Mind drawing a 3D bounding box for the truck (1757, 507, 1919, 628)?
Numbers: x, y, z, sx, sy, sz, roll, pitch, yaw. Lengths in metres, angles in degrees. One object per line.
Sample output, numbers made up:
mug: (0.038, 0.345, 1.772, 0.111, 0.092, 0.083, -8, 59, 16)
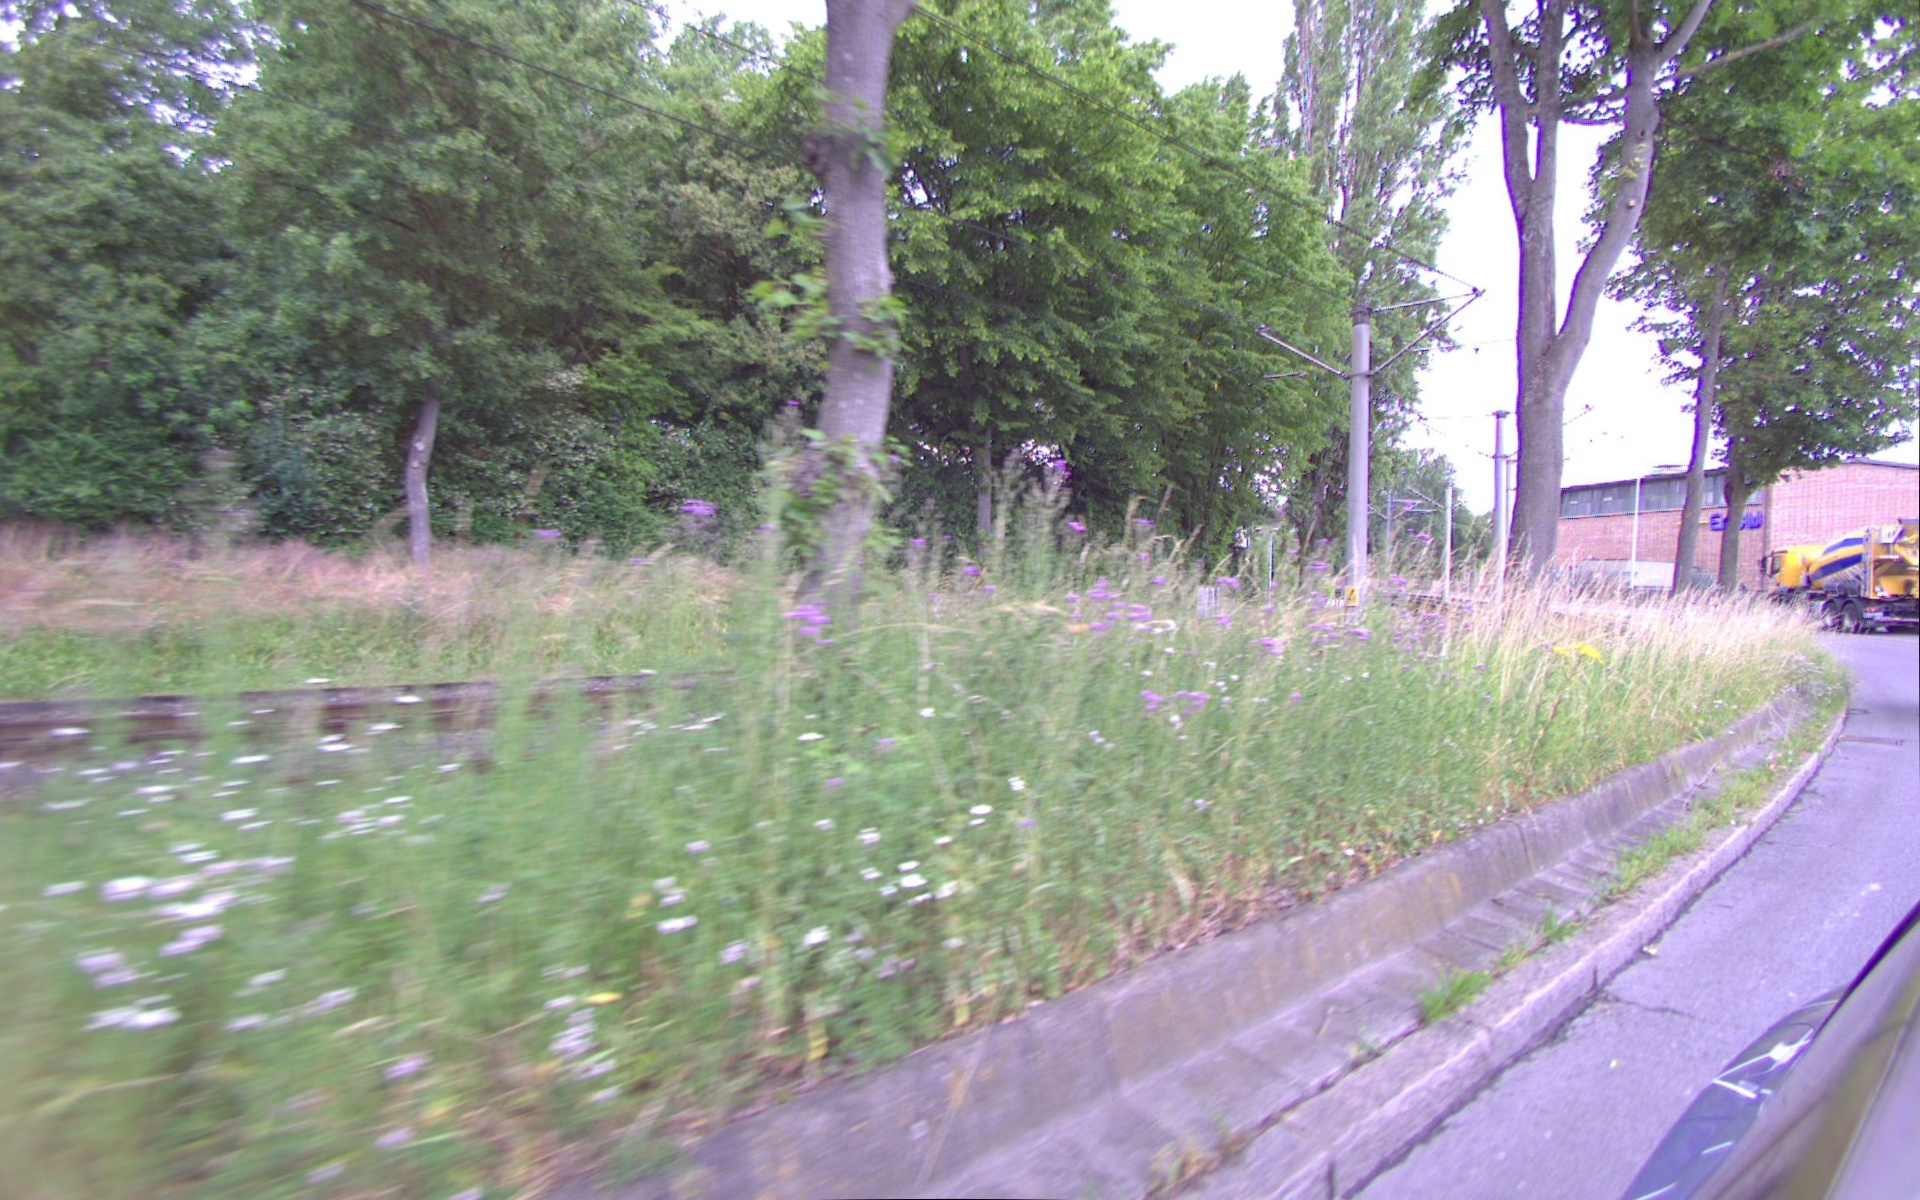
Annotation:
truck: (33.775, -1.167, 38.082, 2.642, 3.988, 10.077, -1, 0, 19)
